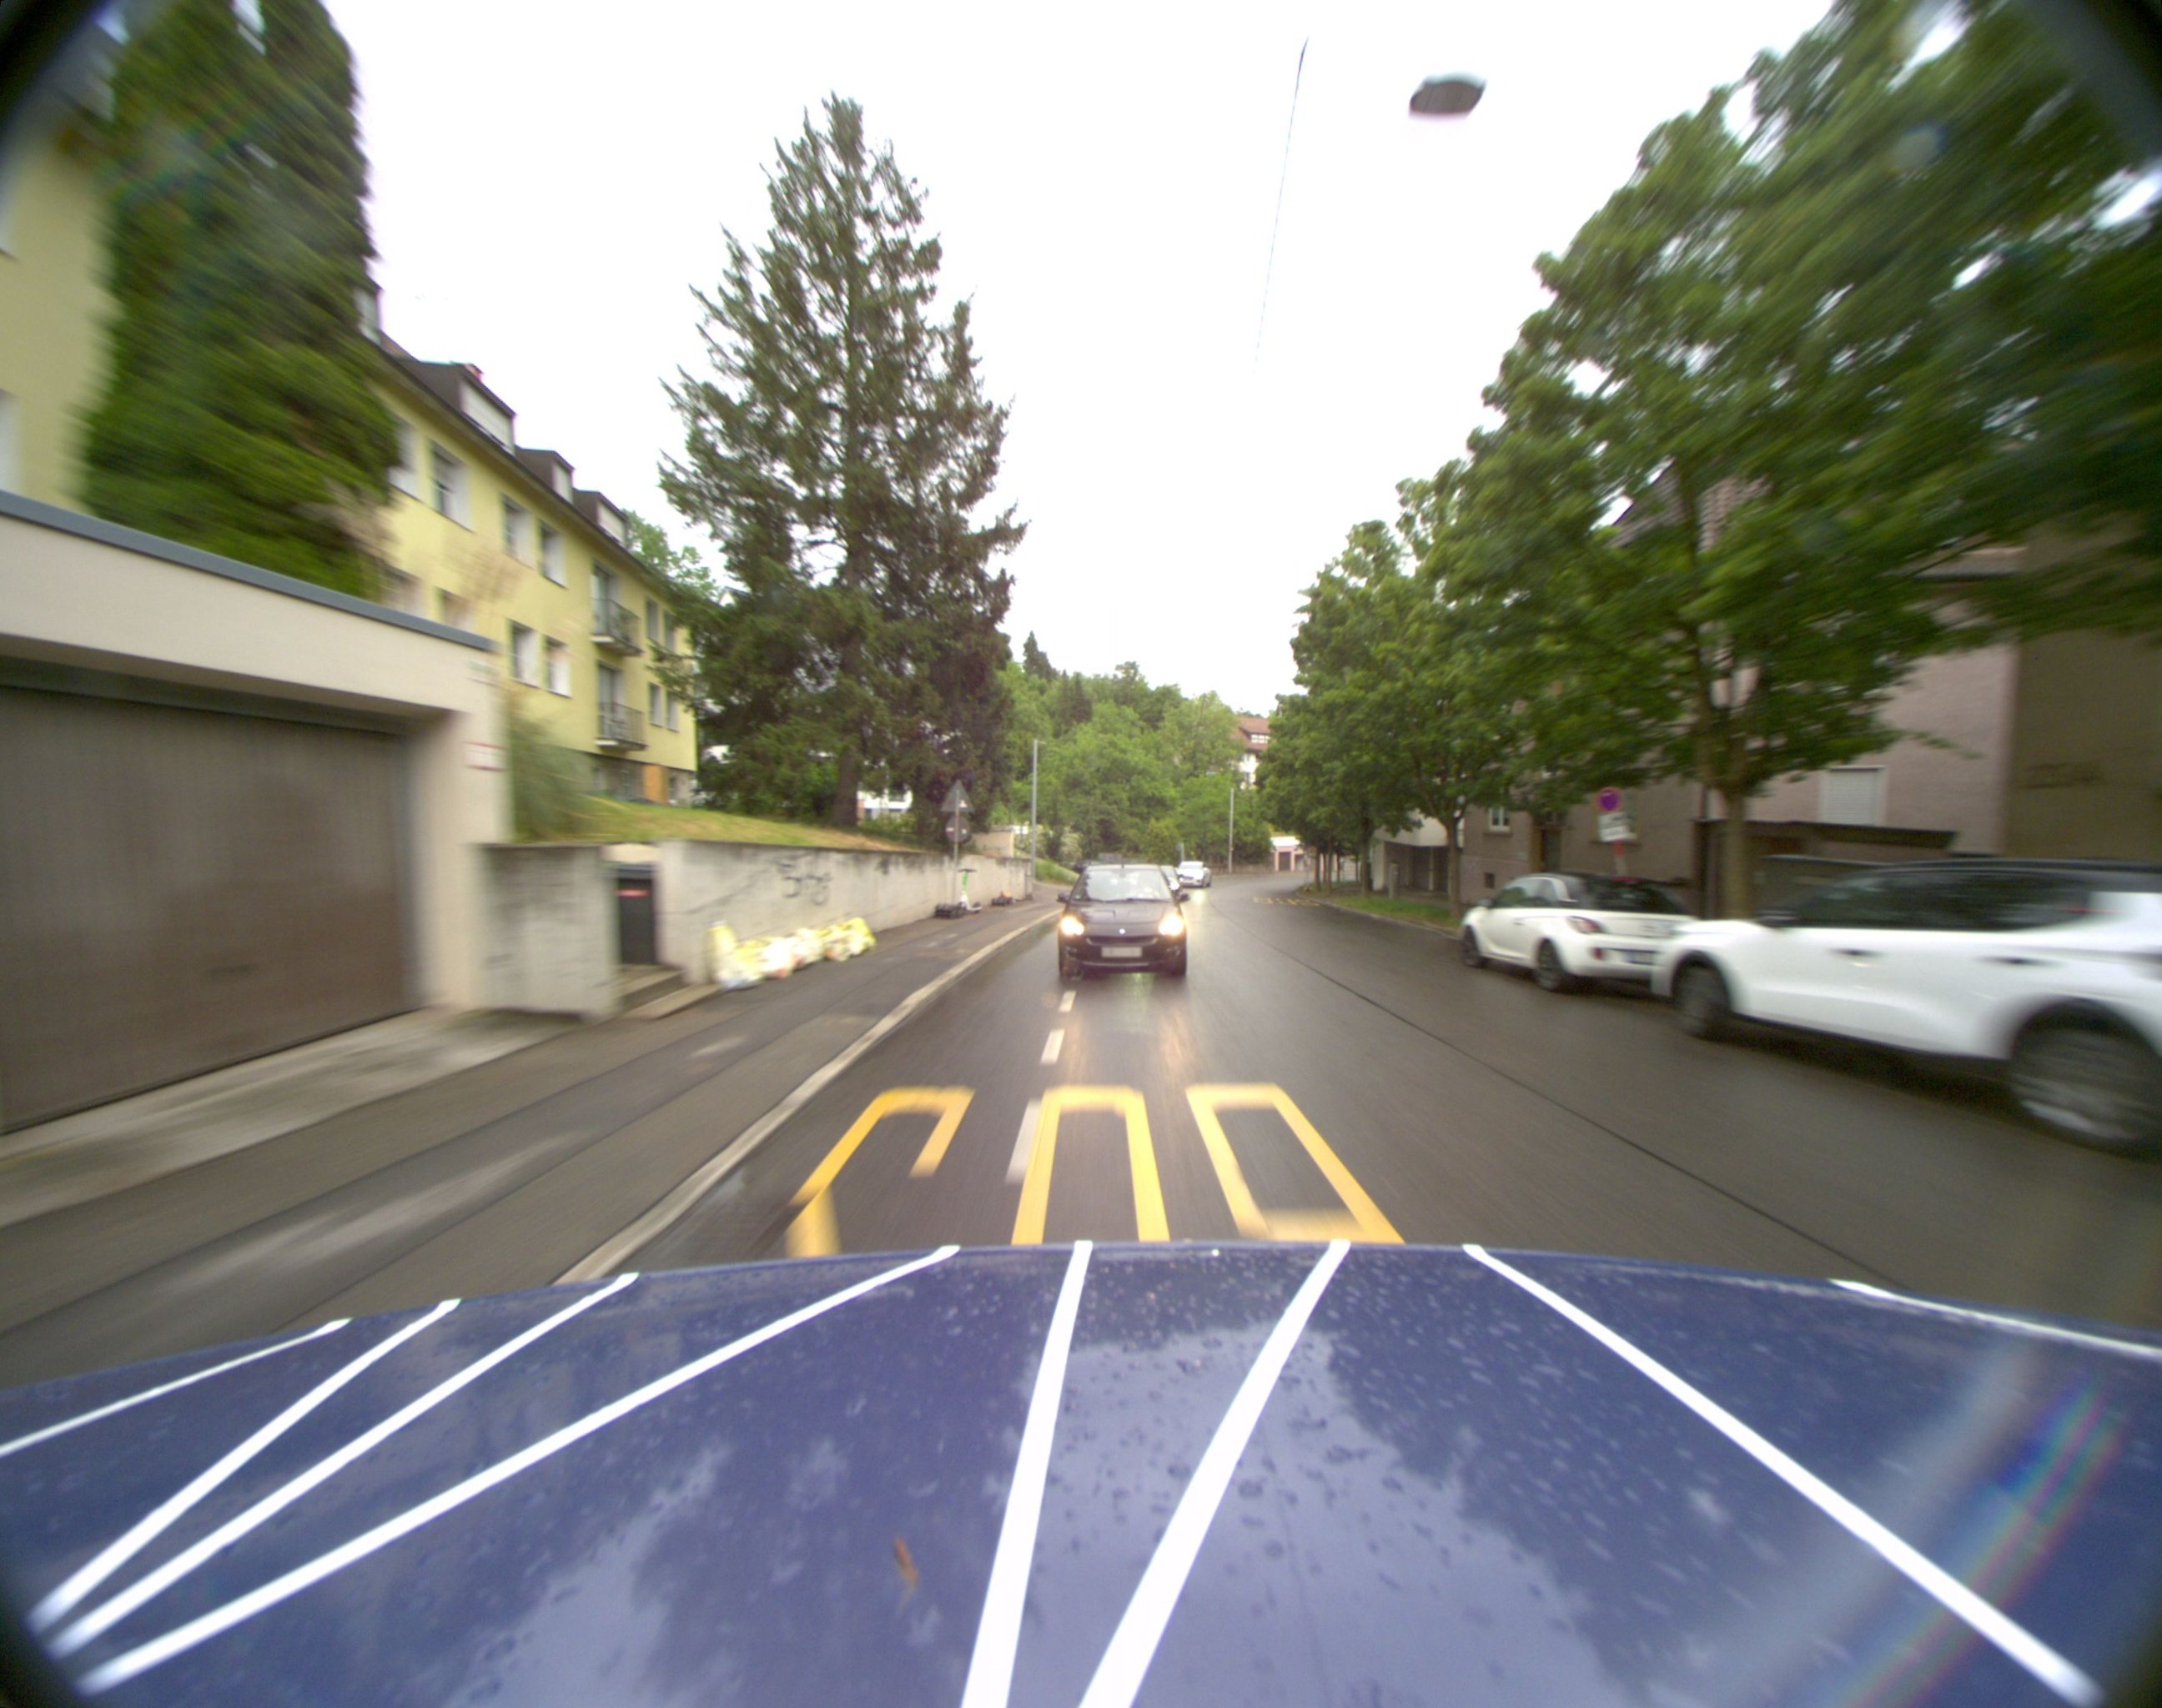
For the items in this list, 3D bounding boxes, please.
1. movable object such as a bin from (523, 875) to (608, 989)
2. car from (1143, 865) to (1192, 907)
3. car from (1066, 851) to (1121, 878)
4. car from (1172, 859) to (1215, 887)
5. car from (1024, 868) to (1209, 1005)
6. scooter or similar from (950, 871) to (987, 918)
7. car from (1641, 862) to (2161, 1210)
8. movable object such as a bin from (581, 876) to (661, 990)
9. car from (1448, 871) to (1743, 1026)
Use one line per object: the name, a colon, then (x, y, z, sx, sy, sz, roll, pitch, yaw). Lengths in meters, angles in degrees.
movable object such as a bin: (-5.150, 0.762, 7.614, 0.479, 1.085, 0.520, 1, 0, 1)
car: (3.459, 1.219, 30.083, 1.806, 1.480, 4.020, 1, 0, 8)
car: (0.880, 0.717, 52.139, 3.463, 1.623, 1.580, 3, 1, 12)
car: (7.196, 1.168, 48.317, 2.010, 1.652, 4.451, 1, 0, 17)
car: (0.653, 0.926, 10.140, 1.576, 1.443, 3.592, 0, 0, 18)
scooter or similar: (-2.869, 1.007, 19.466, 0.599, 1.126, 1.371, 1, 0, 6)
car: (6.158, 0.972, 5.238, 1.596, 1.649, 3.923, 5, 1, 1)
movable object such as a bin: (-4.606, 0.778, 7.629, 0.482, 1.085, 0.493, 1, 0, 1)
car: (6.482, 1.069, 10.114, 1.621, 1.463, 3.670, 5, 1, 6)
